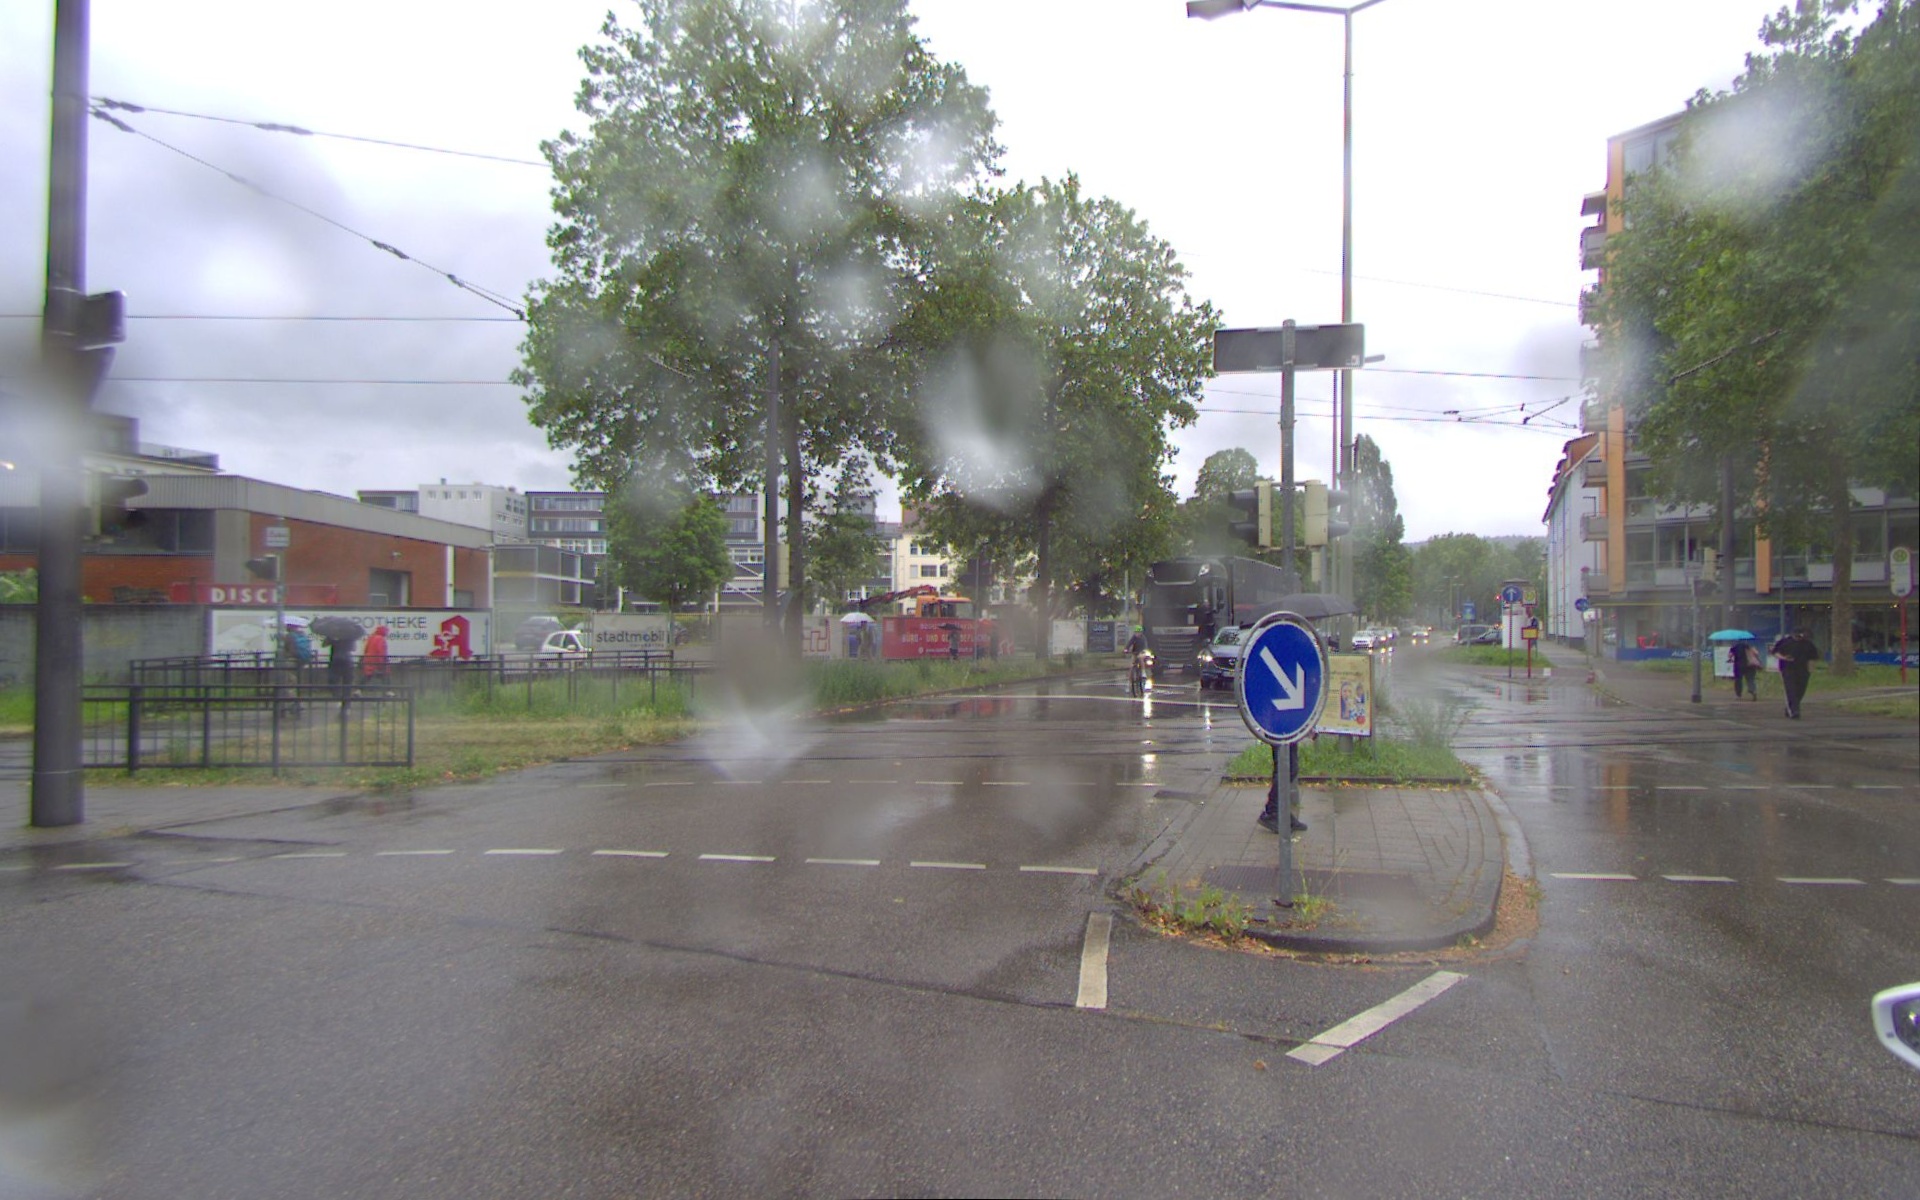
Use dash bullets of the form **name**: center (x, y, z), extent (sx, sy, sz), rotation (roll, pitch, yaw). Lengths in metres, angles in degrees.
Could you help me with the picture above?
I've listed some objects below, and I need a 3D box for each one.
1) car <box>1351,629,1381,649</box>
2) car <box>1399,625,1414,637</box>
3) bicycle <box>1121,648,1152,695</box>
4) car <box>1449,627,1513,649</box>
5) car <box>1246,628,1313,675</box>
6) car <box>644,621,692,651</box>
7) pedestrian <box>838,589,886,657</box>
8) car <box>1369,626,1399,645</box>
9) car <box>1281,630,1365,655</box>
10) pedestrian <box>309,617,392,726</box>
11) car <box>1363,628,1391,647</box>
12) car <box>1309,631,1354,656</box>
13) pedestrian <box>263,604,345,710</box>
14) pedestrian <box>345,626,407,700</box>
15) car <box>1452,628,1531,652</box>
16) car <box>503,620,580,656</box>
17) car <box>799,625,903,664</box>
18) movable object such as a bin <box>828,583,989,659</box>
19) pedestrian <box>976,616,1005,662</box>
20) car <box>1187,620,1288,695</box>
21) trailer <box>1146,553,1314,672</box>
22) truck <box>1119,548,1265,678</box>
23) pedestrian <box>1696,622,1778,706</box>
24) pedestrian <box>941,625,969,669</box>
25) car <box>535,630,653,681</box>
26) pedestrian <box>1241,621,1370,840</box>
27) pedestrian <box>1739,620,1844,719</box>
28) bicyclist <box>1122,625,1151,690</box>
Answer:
- **car**: center (30.805, 2.919, 76.173), extent (1.747, 1.422, 4.825), rotation (0, -1, 27)
- **car**: center (62.377, 4.322, 140.471), extent (1.746, 1.550, 3.999), rotation (1, 1, 21)
- **bicycle**: center (4.177, 1.666, 23.704), extent (0.523, 1.038, 1.875), rotation (-1, -1, 15)
- **car**: center (38.175, 2.784, 73.734), extent (4.126, 1.589, 1.887), rotation (-1, -2, 27)
- **car**: center (10.788, 1.679, 33.748), extent (1.671, 1.391, 4.096), rotation (0, -1, 25)
- **car**: center (-17.603, 2.152, 60.741), extent (1.962, 1.760, 4.418), rotation (0, -1, -6)
- **pedestrian**: center (-2.946, 0.694, 30.312), extent (0.895, 1.990, 1.213), rotation (-1, -1, 29)
- **car**: center (37.491, 3.130, 88.675), extent (1.886, 1.661, 4.813), rotation (0, -1, 30)
- **car**: center (23.128, 2.696, 64.168), extent (2.061, 1.473, 4.891), rotation (0, -1, -29)
- **pedestrian**: center (-10.824, 1.250, 17.869), extent (0.937, 1.887, 0.849), rotation (-1, -1, 1)
- **car**: center (34.315, 3.064, 82.623), extent (1.752, 1.439, 4.258), rotation (-1, -1, 28)
- **car**: center (21.617, 2.503, 58.360), extent (1.701, 1.379, 4.329), rotation (-2, -2, 30)
- **pedestrian**: center (-12.060, 1.037, 18.488), extent (0.937, 1.887, 0.849), rotation (-1, -1, 1)
- **pedestrian**: center (-12.461, 1.332, 21.438), extent (0.812, 1.524, 0.849), rotation (-1, -1, 1)
- **car**: center (34.617, 2.590, 65.435), extent (4.466, 1.489, 1.980), rotation (-1, -2, 29)
- **car**: center (-21.825, 1.925, 52.586), extent (2.127, 1.764, 4.805), rotation (0, -1, -1)
- **car**: center (-4.083, 1.622, 37.559), extent (3.606, 1.339, 1.837), rotation (0, -1, 37)
- **movable object such as a bin**: center (-2.247, 0.851, 42.087), extent (6.675, 2.969, 2.762), rotation (0, -1, 40)
- **pedestrian**: center (1.149, 1.459, 37.619), extent (0.893, 1.671, 0.751), rotation (0, -1, -17)
- **car**: center (7.774, 1.490, 27.791), extent (2.040, 1.705, 4.927), rotation (2, 1, 22)
- **trailer**: center (11.789, 0.576, 42.083), extent (3.391, 4.102, 15.027), rotation (-1, -1, 28)
- **truck**: center (8.466, 0.472, 35.935), extent (3.398, 4.132, 6.963), rotation (0, -1, 28)
- **pedestrian**: center (18.870, 1.525, 24.443), extent (1.151, 1.890, 1.385), rotation (1, 1, 19)
- **pedestrian**: center (-0.166, 1.654, 35.461), extent (0.765, 1.535, 0.635), rotation (1, -1, -40)
- **car**: center (-10.843, 1.580, 29.659), extent (3.613, 1.339, 1.833), rotation (0, -1, 43)
- **pedestrian**: center (2.645, 0.968, 7.773), extent (0.846, 1.602, 0.643), rotation (-1, -1, 12)
- **pedestrian**: center (15.890, 1.297, 19.228), extent (1.017, 1.812, 1.237), rotation (0, -1, 5)
- **bicyclist**: center (4.155, 1.337, 23.674), extent (0.569, 1.480, 1.011), rotation (-1, -1, 15)
